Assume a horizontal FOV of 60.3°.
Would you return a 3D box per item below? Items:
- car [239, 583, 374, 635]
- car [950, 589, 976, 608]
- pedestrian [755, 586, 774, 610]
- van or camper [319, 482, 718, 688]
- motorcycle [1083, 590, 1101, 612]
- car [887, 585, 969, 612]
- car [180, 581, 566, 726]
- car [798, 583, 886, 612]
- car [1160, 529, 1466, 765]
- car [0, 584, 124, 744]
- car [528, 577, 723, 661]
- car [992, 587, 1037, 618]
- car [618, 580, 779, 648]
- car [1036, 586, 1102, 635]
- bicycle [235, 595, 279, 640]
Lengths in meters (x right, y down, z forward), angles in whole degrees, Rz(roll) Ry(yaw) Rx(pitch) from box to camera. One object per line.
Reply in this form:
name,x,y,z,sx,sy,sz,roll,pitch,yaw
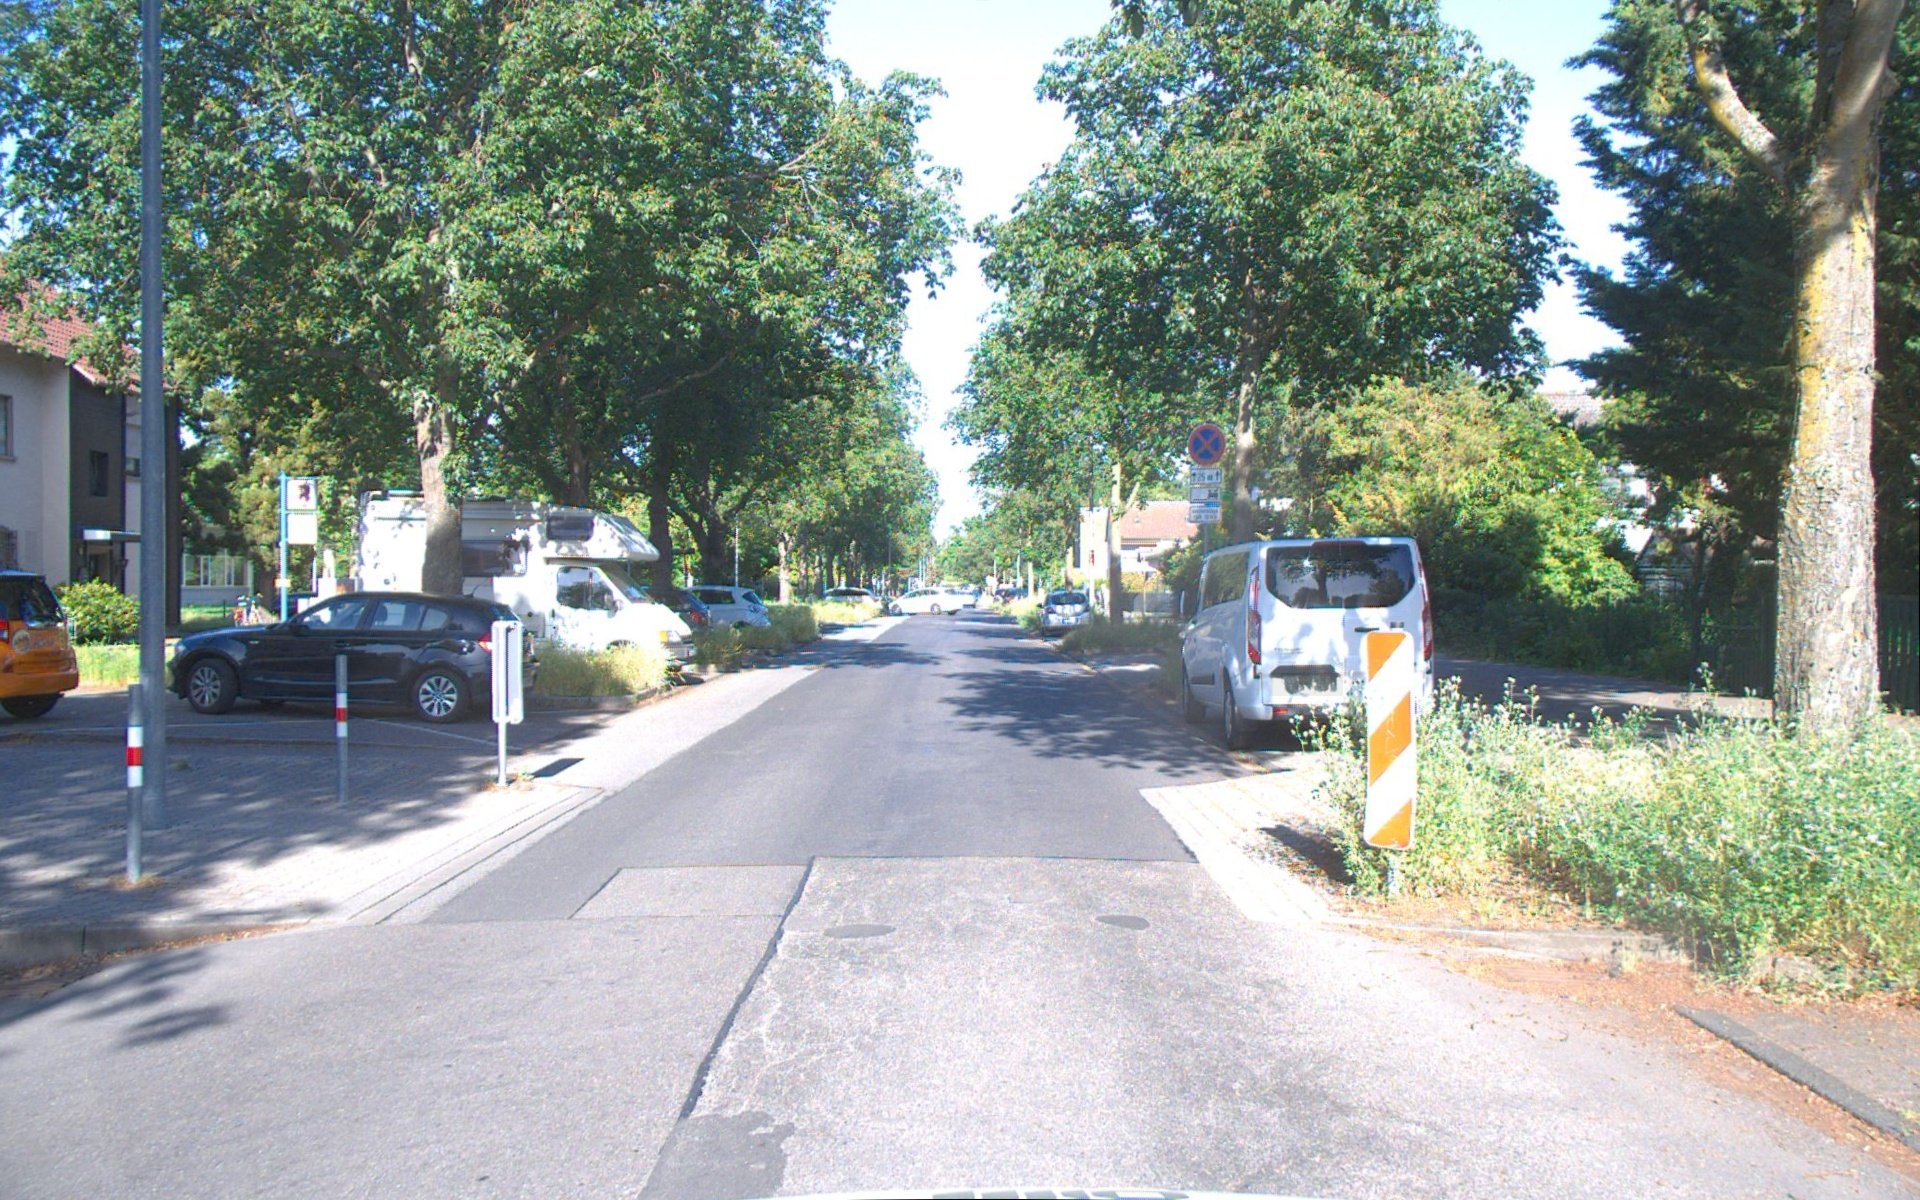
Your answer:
car,-22.469,0.296,56.956,3.905,1.744,1.822,0,0,-1
car,0.230,-0.145,143.676,1.954,1.534,3.656,3,0,-3
pedestrian,-15.752,-0.130,133.003,1.205,1.859,1.544,2,-1,-17
van or camper,-6.923,-0.228,26.379,5.657,2.854,2.000,3,-1,1
motorcycle,7.804,0.060,97.802,0.801,1.248,2.351,-1,0,-1
car,-1.771,-0.089,90.726,4.134,1.480,1.995,0,0,32
car,-6.854,0.608,19.558,3.904,1.475,1.640,2,0,3
car,-6.352,-0.127,89.384,4.575,1.530,2.000,1,0,1
car,3.544,0.442,17.710,1.953,2.049,5.194,3,0,-1
car,-11.071,0.595,17.051,3.910,1.569,1.868,1,0,-6
car,-7.432,0.430,37.084,3.907,1.616,1.999,3,0,-1
car,3.117,0.149,95.310,1.955,1.650,4.376,3,0,-6
car,-6.767,0.352,43.111,3.906,1.690,1.966,1,0,-2
car,3.672,0.368,55.170,1.951,1.537,4.003,-1,-1,7
bicycle,-20.291,0.490,47.781,0.692,1.197,4.038,0,1,-16
